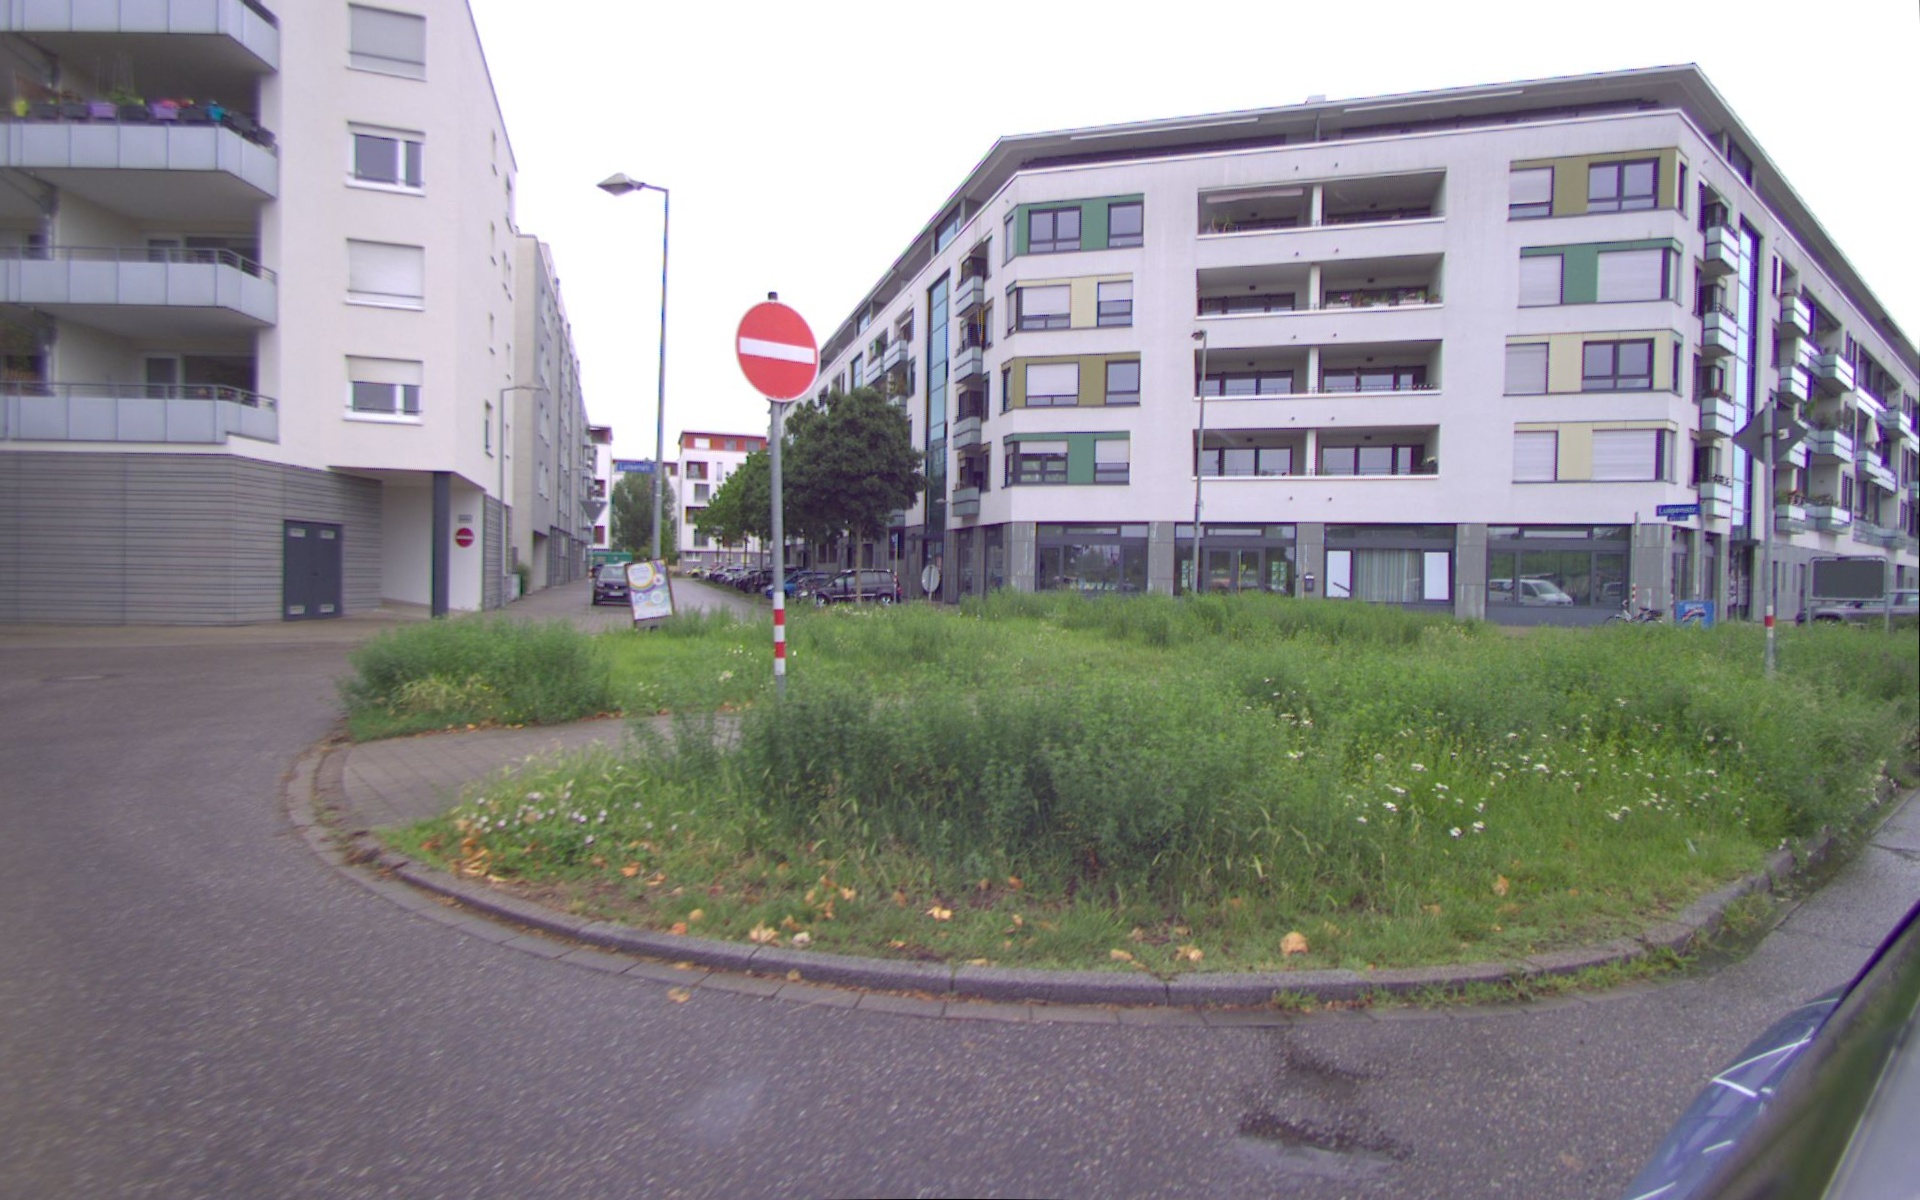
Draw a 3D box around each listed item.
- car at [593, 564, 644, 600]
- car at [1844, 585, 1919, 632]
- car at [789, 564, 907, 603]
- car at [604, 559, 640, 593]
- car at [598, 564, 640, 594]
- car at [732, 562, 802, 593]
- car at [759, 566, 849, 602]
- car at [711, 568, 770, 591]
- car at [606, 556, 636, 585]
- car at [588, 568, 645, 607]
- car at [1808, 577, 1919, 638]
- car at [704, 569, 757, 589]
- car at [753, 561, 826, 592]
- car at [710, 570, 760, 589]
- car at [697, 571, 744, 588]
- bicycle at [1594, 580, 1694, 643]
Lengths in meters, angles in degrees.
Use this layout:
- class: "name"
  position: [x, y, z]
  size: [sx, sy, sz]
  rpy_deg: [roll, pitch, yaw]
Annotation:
- class: "car"
  position: [-14.676, -0.789, 43.507]
  size: [1.958, 1.450, 4.475]
  rpy_deg: [1, 1, -19]
- class: "car"
  position: [32.022, 0.323, 33.102]
  size: [1.877, 1.422, 4.419]
  rpy_deg: [0, 3, -40]
- class: "car"
  position: [-4.486, -0.652, 40.443]
  size: [4.428, 1.451, 1.818]
  rpy_deg: [0, 1, -18]
- class: "car"
  position: [-22.299, -1.580, 66.913]
  size: [1.958, 2.123, 5.003]
  rpy_deg: [1, 1, -16]
- class: "car"
  position: [-20.073, -1.232, 59.731]
  size: [1.958, 1.706, 4.431]
  rpy_deg: [1, 1, -14]
- class: "car"
  position: [-11.789, -1.369, 61.883]
  size: [4.016, 1.776, 1.818]
  rpy_deg: [0, 1, -18]
- class: "car"
  position: [-7.732, -0.796, 49.895]
  size: [4.259, 1.671, 1.745]
  rpy_deg: [0, 1, -12]
- class: "car"
  position: [-15.939, -1.482, 73.500]
  size: [4.016, 1.564, 1.818]
  rpy_deg: [0, 1, -18]
- class: "car"
  position: [-24.903, -2.124, 74.432]
  size: [1.958, 2.039, 5.479]
  rpy_deg: [1, 1, -17]
- class: "car"
  position: [-13.287, -0.507, 39.303]
  size: [1.958, 1.433, 3.835]
  rpy_deg: [1, 1, -17]
- class: "car"
  position: [28.156, 0.233, 30.170]
  size: [1.932, 1.643, 4.098]
  rpy_deg: [0, 4, -41]
- class: "car"
  position: [-18.523, -1.670, 81.493]
  size: [4.016, 1.564, 1.818]
  rpy_deg: [0, 1, -18]
- class: "car"
  position: [-10.075, -1.363, 59.745]
  size: [4.016, 1.776, 1.818]
  rpy_deg: [0, 1, -18]
- class: "car"
  position: [-19.165, -1.772, 86.284]
  size: [4.016, 1.564, 1.818]
  rpy_deg: [0, 1, -18]
- class: "car"
  position: [-21.894, -1.870, 92.344]
  size: [4.016, 1.564, 1.818]
  rpy_deg: [0, 1, -18]
- class: "bicycle"
  position: [18.001, 0.276, 26.705]
  size: [0.617, 1.541, 2.200]
  rpy_deg: [1, 2, -20]
